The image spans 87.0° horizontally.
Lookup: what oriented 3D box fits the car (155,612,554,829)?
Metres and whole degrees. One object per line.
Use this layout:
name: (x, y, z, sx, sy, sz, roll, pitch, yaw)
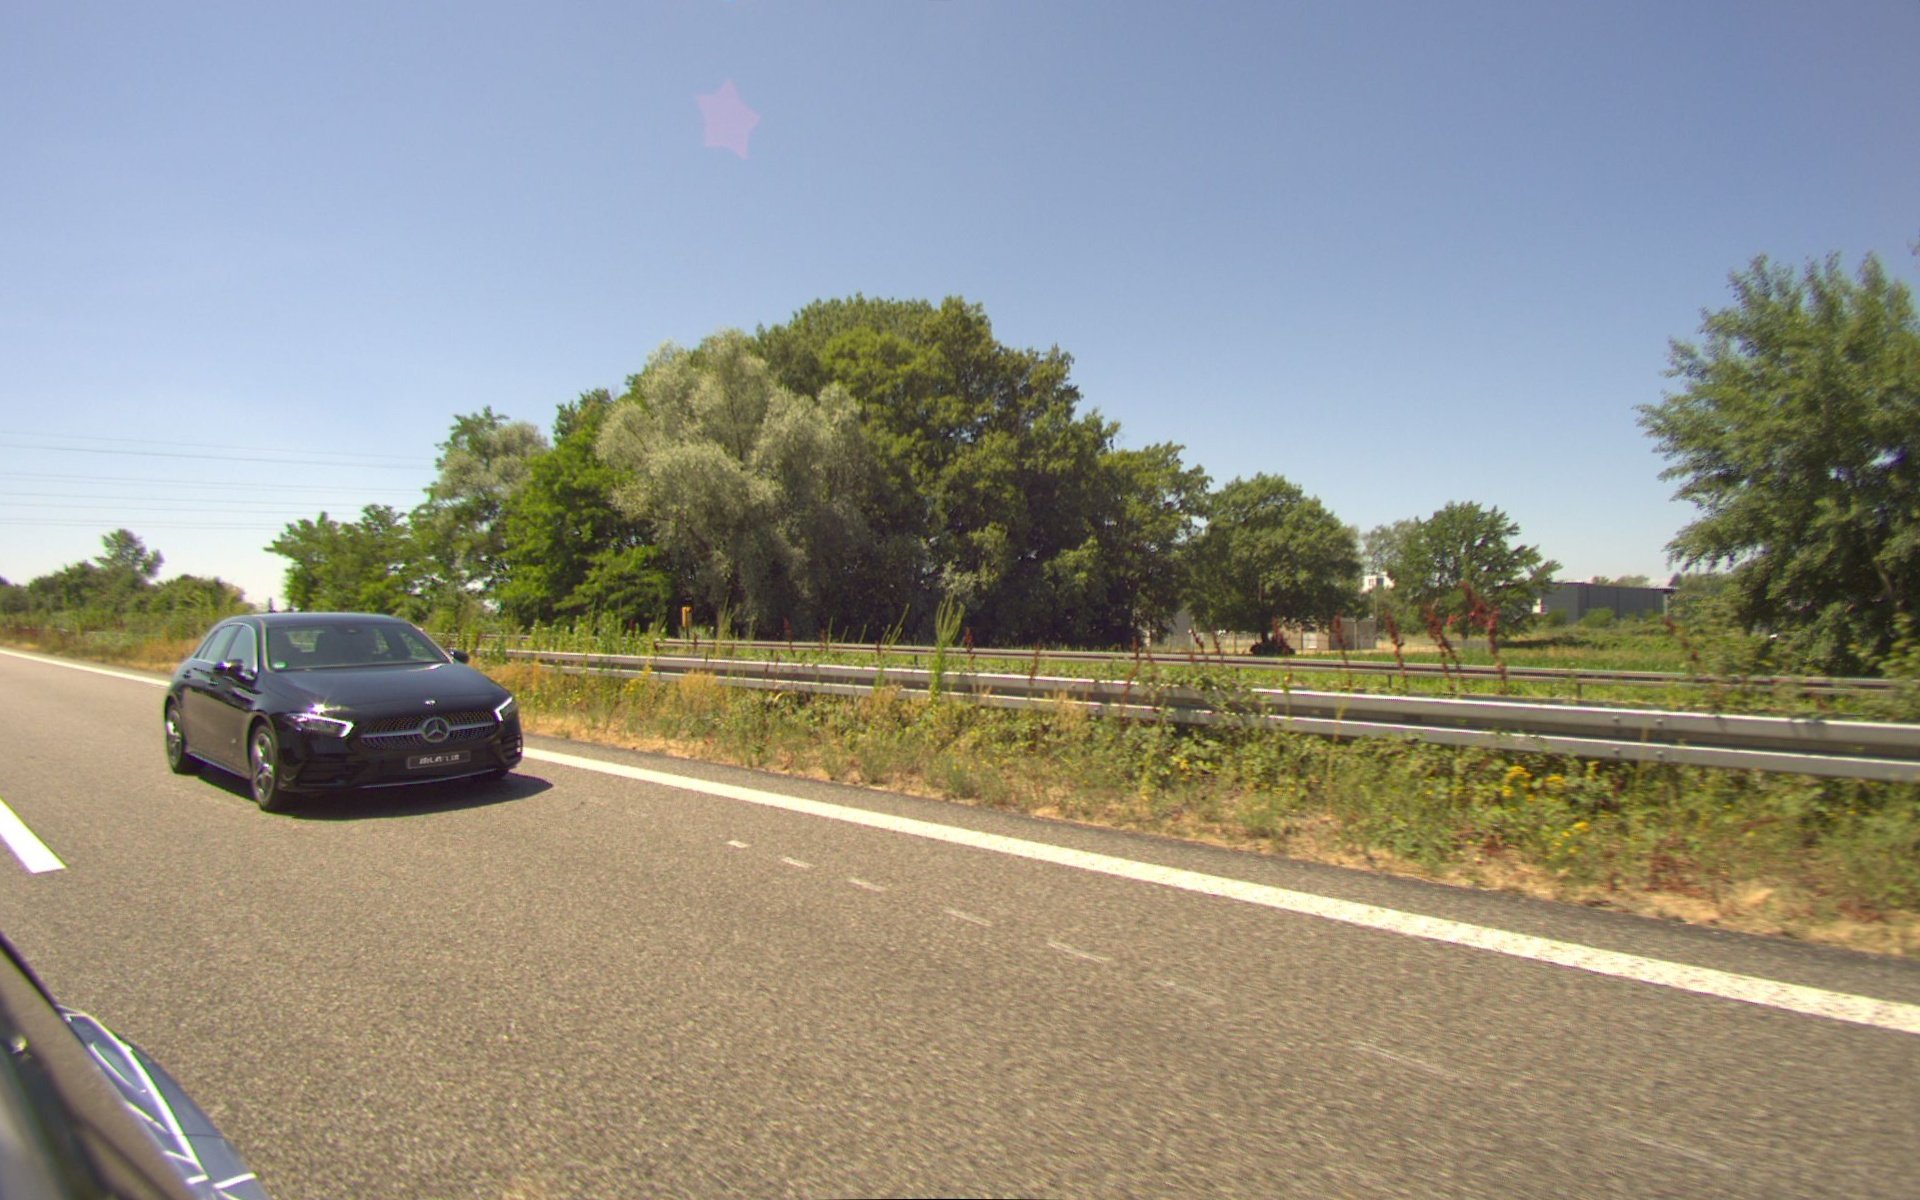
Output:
car: (-5.305, 0.824, 8.653, 4.050, 1.422, 1.773, -1, -1, 41)
